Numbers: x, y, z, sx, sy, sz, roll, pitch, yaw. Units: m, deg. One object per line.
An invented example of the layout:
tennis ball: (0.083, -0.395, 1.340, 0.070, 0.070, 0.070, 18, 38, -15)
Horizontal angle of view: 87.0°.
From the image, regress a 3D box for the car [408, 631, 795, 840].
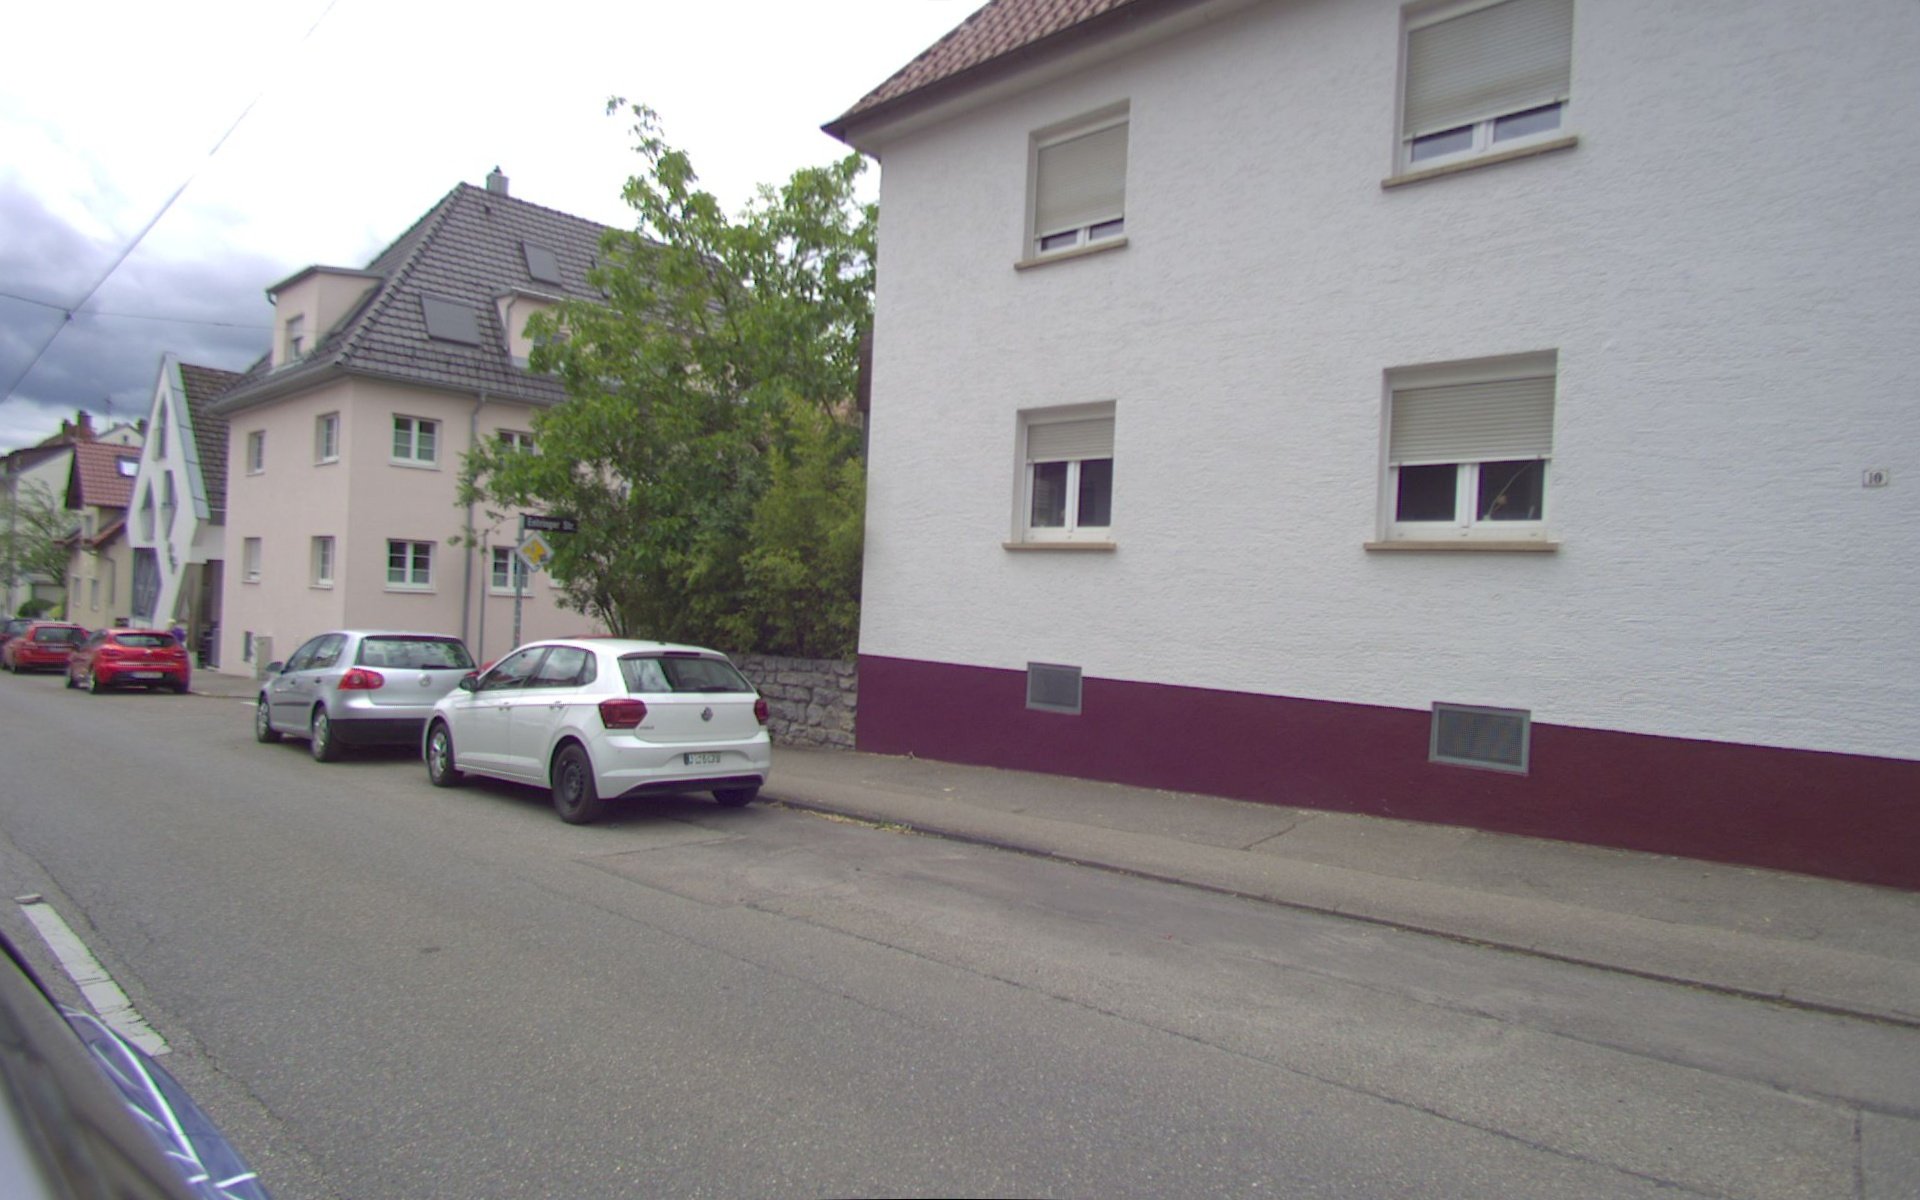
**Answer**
car: (-3.372, 1.057, 9.191, 3.810, 1.458, 1.632, -1, -3, 41)

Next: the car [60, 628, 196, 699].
car: (-18.860, 1.421, 22.888, 3.734, 1.421, 1.684, -1, -5, 41)

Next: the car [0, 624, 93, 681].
car: (-27.573, 1.548, 30.403, 3.734, 1.544, 1.684, -1, -5, 41)

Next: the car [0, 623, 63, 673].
car: (-31.302, 1.552, 33.625, 3.734, 1.544, 1.684, -1, -5, 41)

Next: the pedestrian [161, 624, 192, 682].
pedestrian: (-21.441, 1.431, 27.695, 0.600, 1.544, 0.576, -1, 0, 41)

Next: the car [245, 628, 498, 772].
car: (-7.274, 1.106, 12.373, 3.775, 1.458, 1.631, -1, -3, 44)

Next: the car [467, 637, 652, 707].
car: (-9.325, 1.622, 23.727, 3.680, 1.421, 1.708, 1, -2, -45)
